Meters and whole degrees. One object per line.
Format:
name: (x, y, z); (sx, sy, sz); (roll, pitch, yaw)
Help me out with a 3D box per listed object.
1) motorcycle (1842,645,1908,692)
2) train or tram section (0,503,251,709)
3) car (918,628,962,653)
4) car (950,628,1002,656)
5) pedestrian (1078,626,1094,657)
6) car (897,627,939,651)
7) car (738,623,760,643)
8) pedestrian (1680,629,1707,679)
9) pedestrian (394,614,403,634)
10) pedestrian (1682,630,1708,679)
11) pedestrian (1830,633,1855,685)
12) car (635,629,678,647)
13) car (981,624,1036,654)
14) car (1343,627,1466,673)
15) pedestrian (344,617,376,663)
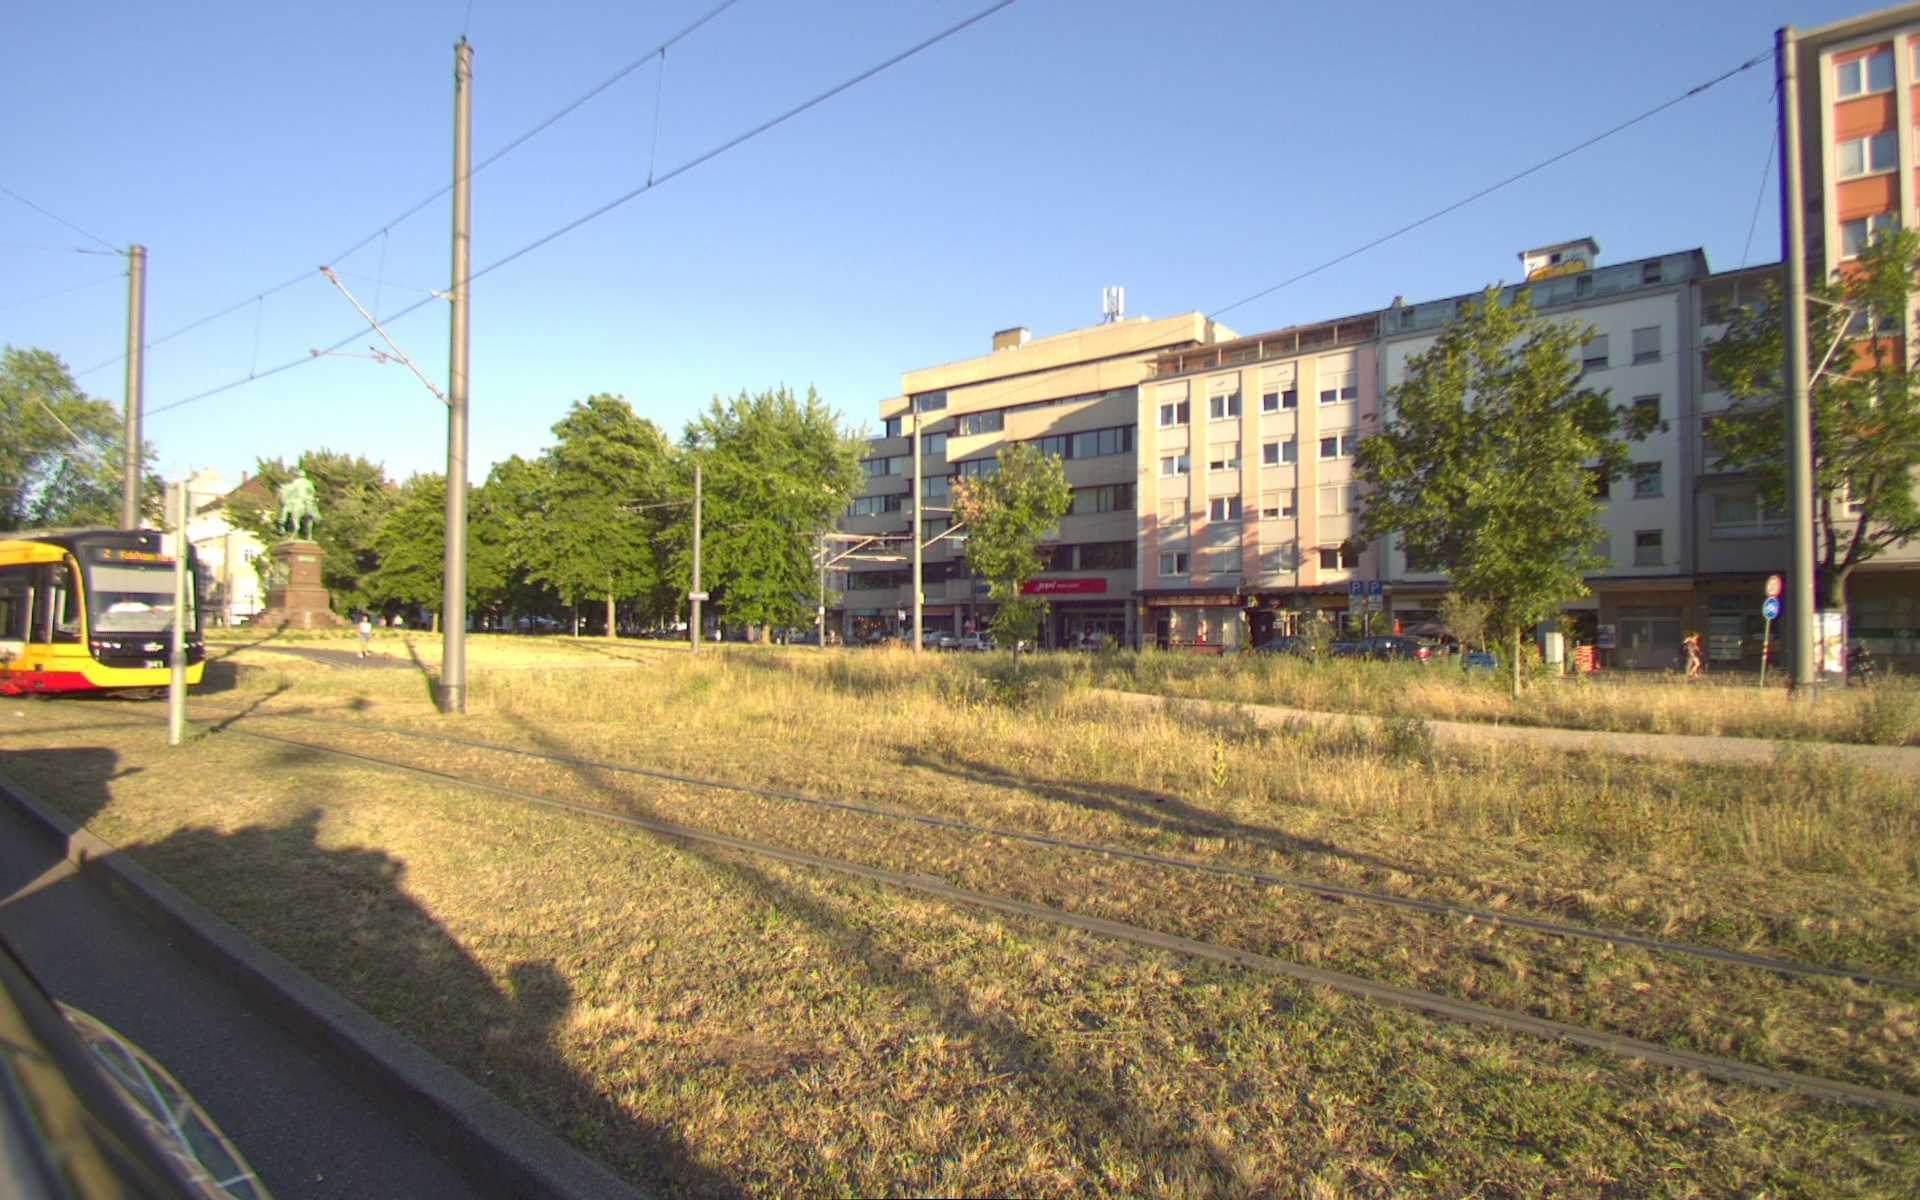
motorcycle: (26.600, 1.980, 29.425); (1.390, 1.328, 0.376); (-2, -2, 43)
train or tram section: (-21.209, 0.238, 23.022); (13.161, 3.767, 2.889); (-1, -2, 29)
car: (-1.529, 3.048, 77.054); (1.965, 1.893, 4.013); (1, -2, -23)
car: (1.101, 2.940, 71.515); (1.965, 1.893, 4.013); (1, -2, -27)
pedestrian: (7.960, 2.596, 63.899); (0.700, 1.949, 0.683); (-2, -2, 41)
car: (-3.454, 3.130, 81.962); (1.965, 1.951, 4.013); (1, -2, -25)
car: (-23.609, 3.666, 113.353); (1.966, 2.029, 4.012); (-1, 0, -18)
pedestrian: (26.795, 1.956, 36.968); (0.704, 1.806, 0.587); (-2, -2, 41)
pedestrian: (-48.692, 2.054, 87.799); (0.512, 1.707, 0.528); (-1, -2, 41)
pedestrian: (27.217, 1.998, 37.453); (0.698, 1.764, 0.642); (-2, -2, 41)
pedestrian: (30.913, 2.044, 35.445); (0.630, 1.782, 0.589); (-1, -2, 41)
car: (-32.077, 4.008, 106.873); (3.933, 1.769, 1.973); (1, -2, -33)
car: (3.175, 2.555, 66.855); (1.892, 1.878, 4.013); (1, -2, -27)
car: (17.267, 1.897, 39.516); (1.965, 1.697, 4.012); (1, -2, -28)
pedestrian: (-23.381, 1.554, 39.444); (0.797, 1.741, 0.880); (-2, -2, 41)
